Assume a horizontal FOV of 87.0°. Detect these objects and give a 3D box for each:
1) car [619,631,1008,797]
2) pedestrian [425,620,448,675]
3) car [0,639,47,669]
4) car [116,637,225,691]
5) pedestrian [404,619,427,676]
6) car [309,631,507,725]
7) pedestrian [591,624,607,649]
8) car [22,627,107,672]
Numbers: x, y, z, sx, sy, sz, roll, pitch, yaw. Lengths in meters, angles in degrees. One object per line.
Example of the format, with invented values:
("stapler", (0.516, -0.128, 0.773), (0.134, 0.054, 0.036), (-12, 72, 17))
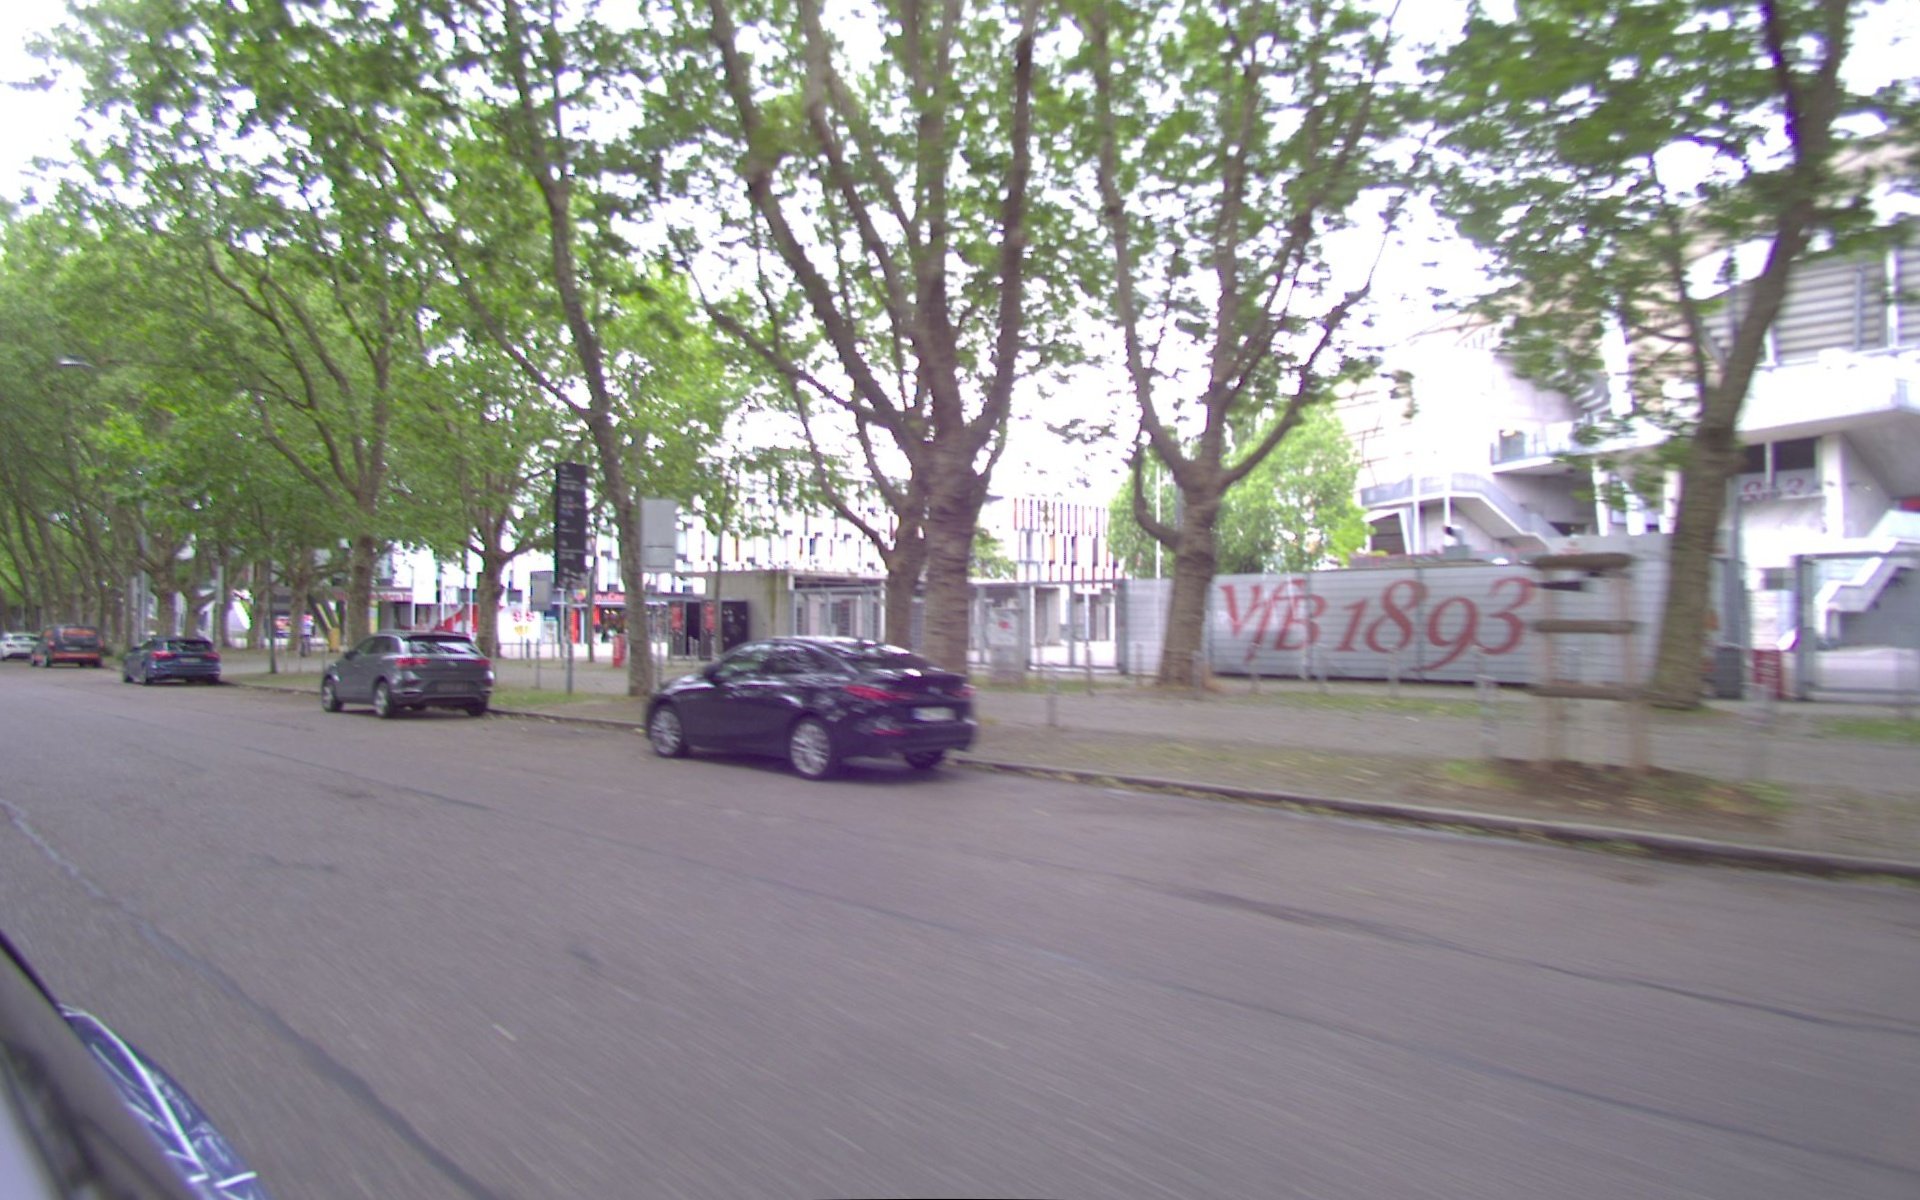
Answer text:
("car", (-1.807, 1.110, 11.331), (4.626, 1.477, 1.807), (-2, -3, 43))
("pedestrian", (-17.113, 1.547, 33.074), (0.567, 1.755, 0.769), (1, -2, -35))
("car", (-47.840, 2.689, 51.127), (4.748, 1.413, 1.884), (-2, -5, 40))
("car", (-23.764, 1.871, 30.396), (4.571, 1.497, 1.707), (-2, -2, 41))
("pedestrian", (-17.531, 1.521, 32.575), (0.569, 1.783, 0.769), (1, -2, -35))
("car", (-10.308, 1.374, 18.790), (4.148, 1.538, 1.858), (-2, -3, 41))
("pedestrian", (-24.547, 2.455, 68.814), (0.808, 1.704, 0.716), (-2, -3, 44))
("car", (-37.266, 2.044, 42.091), (4.634, 1.764, 1.929), (-2, -4, 40))
